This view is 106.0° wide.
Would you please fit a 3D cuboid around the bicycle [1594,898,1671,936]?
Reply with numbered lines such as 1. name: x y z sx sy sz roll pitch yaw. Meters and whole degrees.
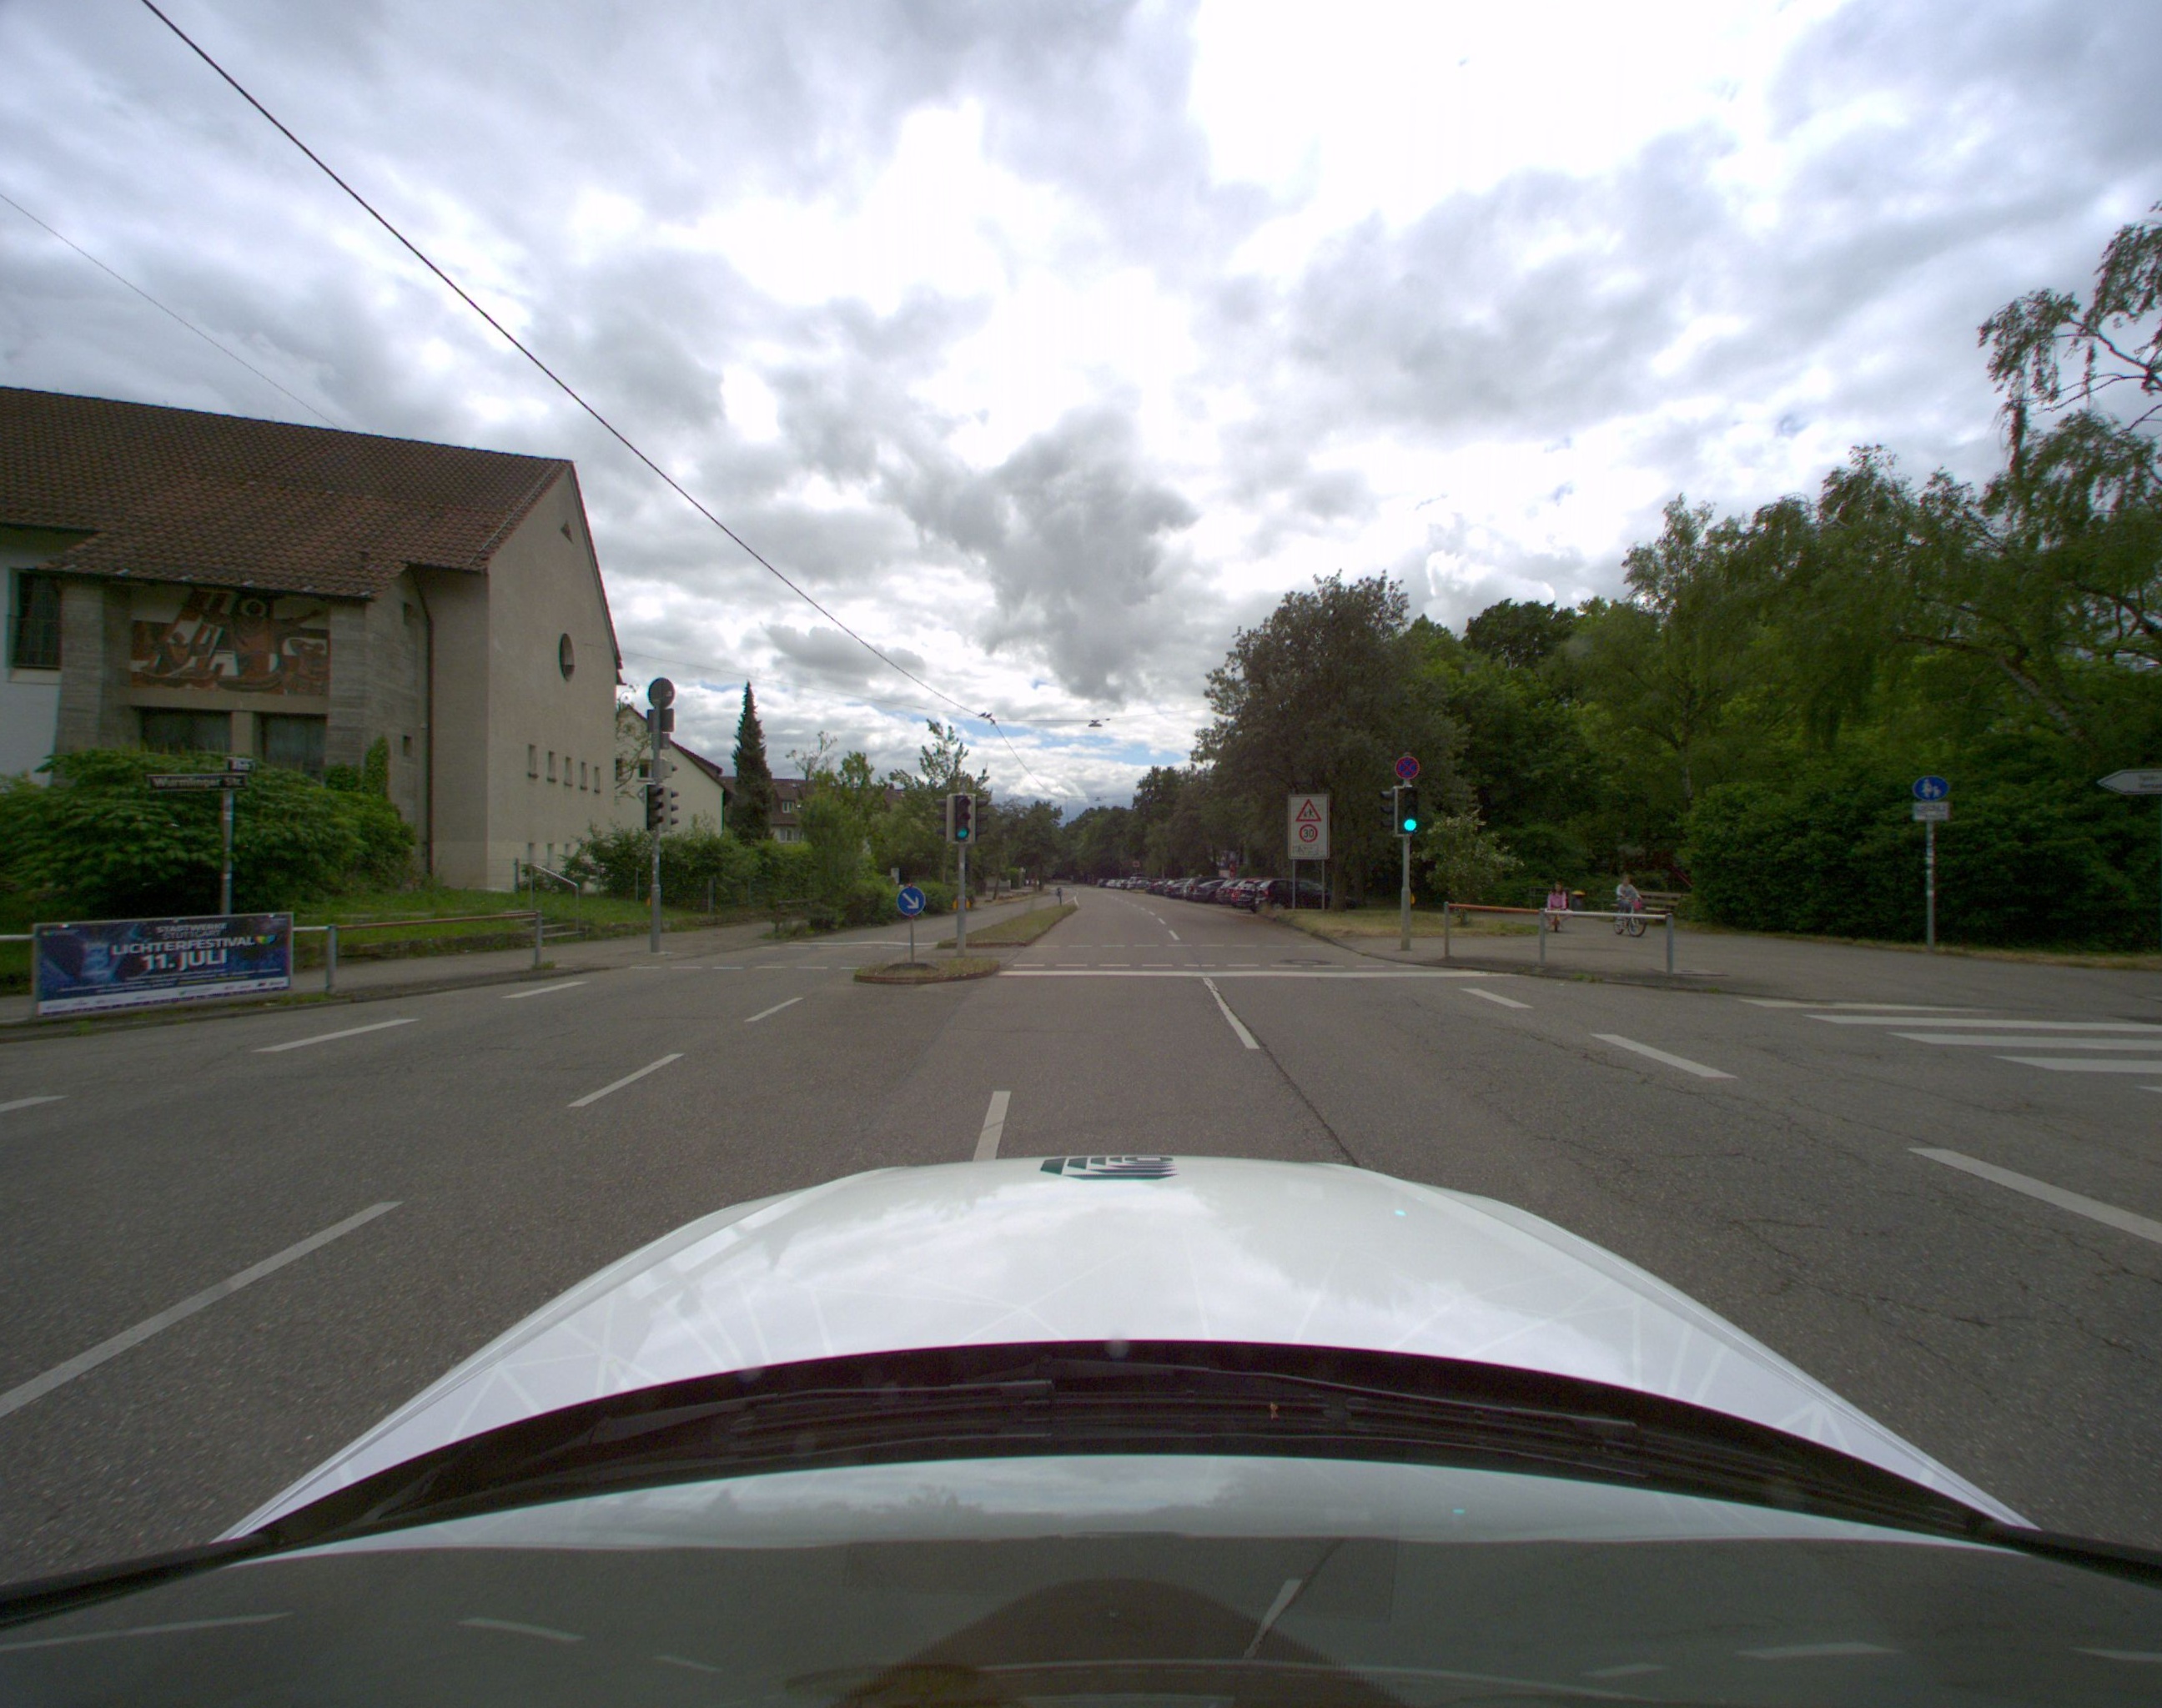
1. bicycle: 12.106 1.372 17.939 0.637 0.758 1.682 0 -2 4

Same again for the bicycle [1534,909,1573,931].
1. bicycle: 11.428 1.595 19.723 0.514 0.497 0.991 -1 -3 10

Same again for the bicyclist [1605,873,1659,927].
1. bicyclist: 12.120 1.002 17.926 0.637 1.162 0.804 0 -2 3

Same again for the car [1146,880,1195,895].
1. car: 8.448 3.149 77.119 4.319 1.341 1.725 1 -2 -15

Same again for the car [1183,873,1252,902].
1. car: 8.613 2.127 51.520 3.986 1.725 1.674 1 -2 -10

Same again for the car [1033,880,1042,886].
1. car: -10.257 6.903 192.832 1.866 1.471 3.989 0 -2 -8

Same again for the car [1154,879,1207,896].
1. car: 8.766 2.923 71.596 4.351 1.445 1.625 1 -2 -15

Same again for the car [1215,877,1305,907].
1. car: 9.165 1.946 41.847 4.218 1.464 1.629 1 -2 -10

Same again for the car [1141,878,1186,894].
1. car: 8.072 3.120 79.884 4.088 1.516 1.720 1 -2 -23

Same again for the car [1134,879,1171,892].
1. car: 8.353 3.670 95.148 3.972 1.406 1.747 2 -2 -16

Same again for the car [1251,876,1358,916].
1. car: 8.630 1.616 31.636 3.707 1.476 1.574 1 -1 -3

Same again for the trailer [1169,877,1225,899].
1. trailer: 8.396 2.474 59.119 3.691 1.535 1.639 1 -2 -12

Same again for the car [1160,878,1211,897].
1. car: 8.610 2.765 67.002 3.843 1.455 1.627 1 -2 -13

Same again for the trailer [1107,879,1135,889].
1. trailer: 6.342 4.764 130.221 4.168 1.573 1.700 2 -3 -20

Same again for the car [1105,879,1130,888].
1. car: 6.304 5.104 141.261 3.898 1.429 1.731 1 -2 -21

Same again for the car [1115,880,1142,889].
1. car: 7.460 4.771 128.069 3.900 1.449 1.730 1 -2 -22

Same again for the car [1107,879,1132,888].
1. car: 6.618 5.052 138.693 3.898 1.429 1.731 1 -2 -21

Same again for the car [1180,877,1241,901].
1. car: 8.608 2.314 54.296 3.814 1.529 1.603 1 -2 -5

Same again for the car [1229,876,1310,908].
1. car: 9.100 1.829 39.347 3.527 1.476 1.585 1 -2 -13

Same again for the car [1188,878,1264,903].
1. car: 8.686 2.194 48.790 4.162 1.407 1.691 1 -2 -12

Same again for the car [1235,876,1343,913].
1. car: 8.649 1.699 33.935 4.137 1.476 1.570 1 -2 -11

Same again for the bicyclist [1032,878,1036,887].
1. bicyclist: -8.425 5.081 146.145 0.843 1.698 0.713 1 -1 -3

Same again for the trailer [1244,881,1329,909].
1. trailer: 9.347 1.871 37.094 3.402 1.267 1.610 1 -3 -10

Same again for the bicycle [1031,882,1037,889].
1. bicycle: -8.428 5.634 146.150 0.842 1.266 2.649 1 -1 -2

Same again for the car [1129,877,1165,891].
1. car: 8.091 3.678 100.485 4.006 1.620 1.874 2 -2 -17

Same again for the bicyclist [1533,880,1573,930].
1. bicyclist: 11.429 1.221 19.735 0.514 1.187 0.970 -1 -3 10

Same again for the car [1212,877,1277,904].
1. car: 9.393 2.098 46.801 3.327 1.464 1.629 1 -2 -11

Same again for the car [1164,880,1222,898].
1. car: 8.451 2.642 61.453 4.036 1.328 1.554 1 -3 -10

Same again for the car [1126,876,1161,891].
1. car: 7.929 3.767 103.299 4.108 1.755 1.771 2 -2 -27

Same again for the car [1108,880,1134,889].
1. car: 6.577 4.967 132.907 3.903 1.310 1.729 1 -2 -25
